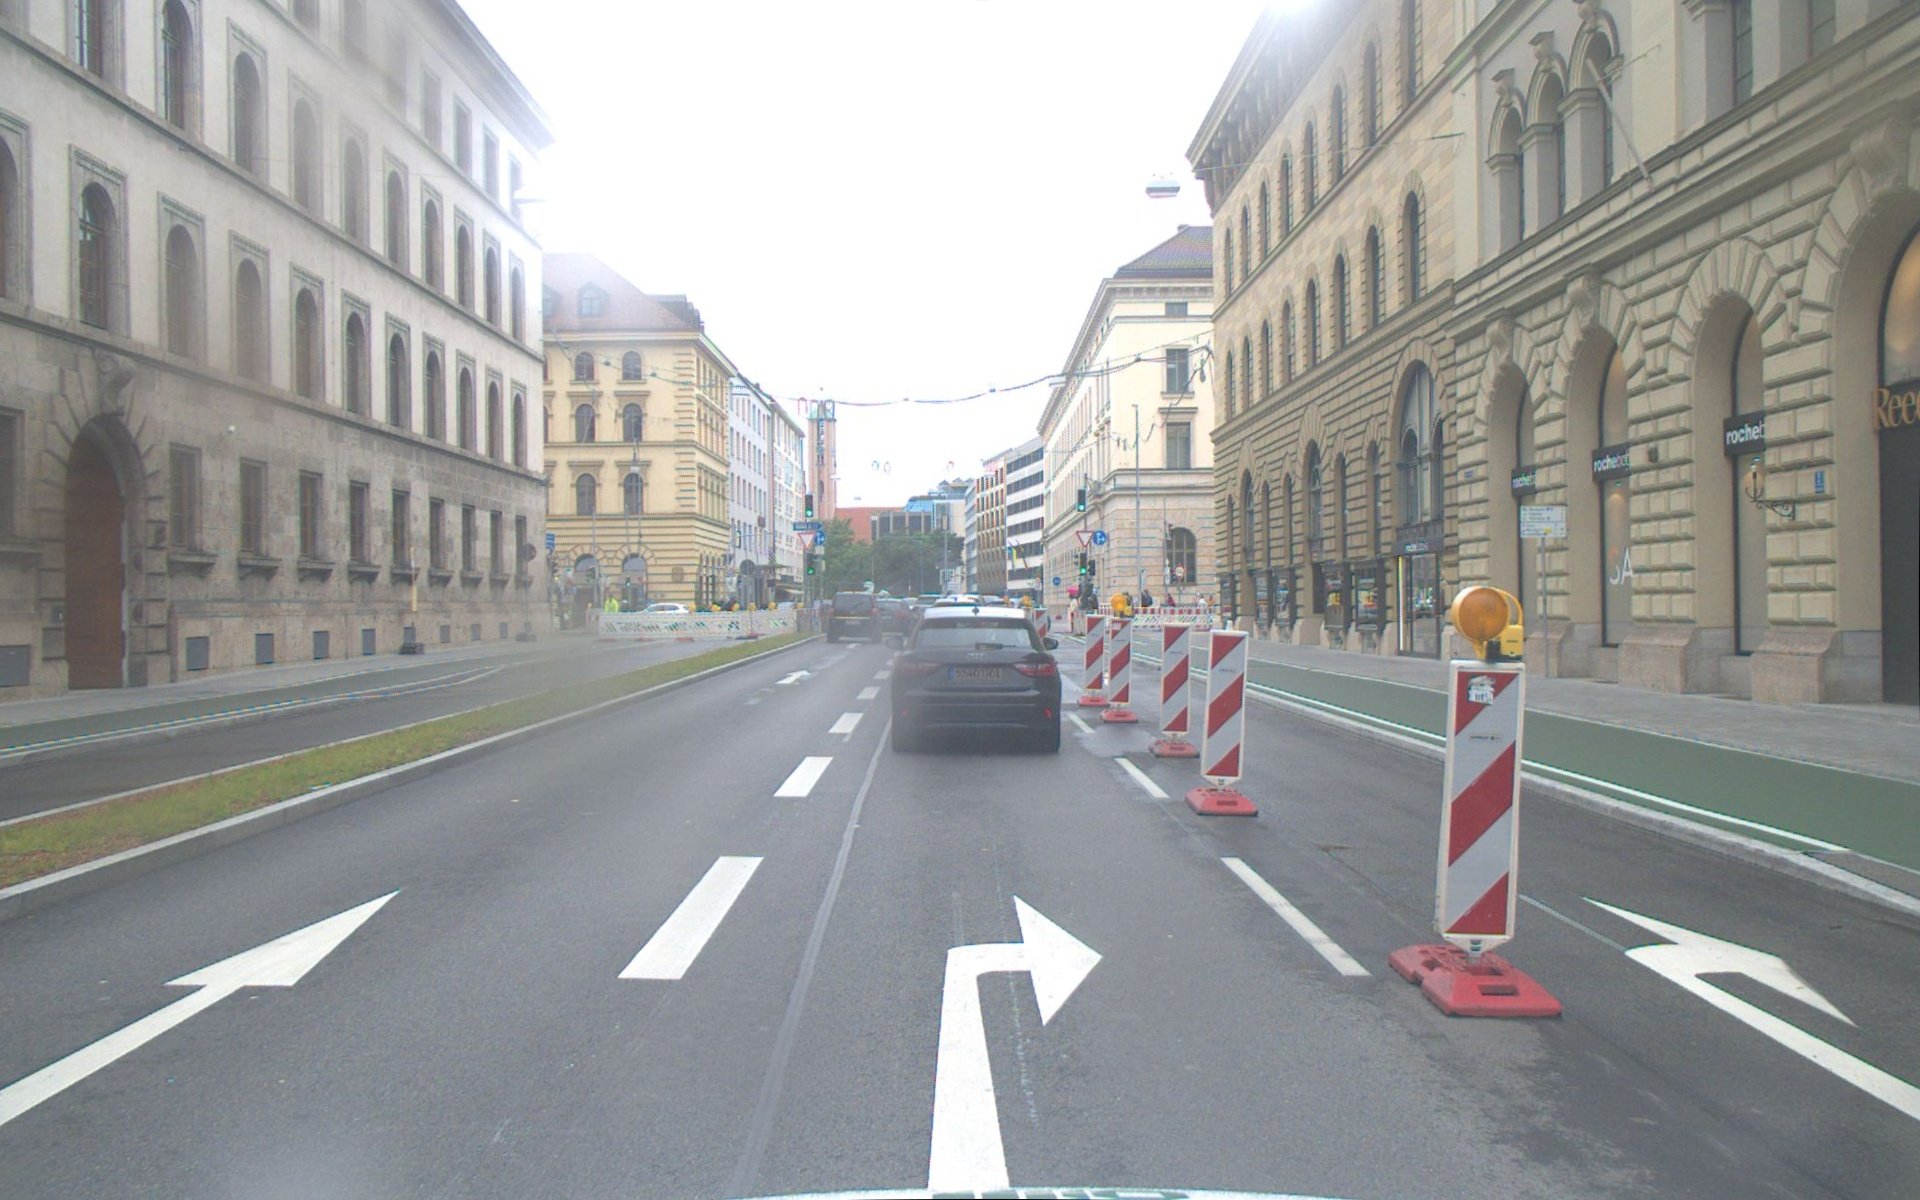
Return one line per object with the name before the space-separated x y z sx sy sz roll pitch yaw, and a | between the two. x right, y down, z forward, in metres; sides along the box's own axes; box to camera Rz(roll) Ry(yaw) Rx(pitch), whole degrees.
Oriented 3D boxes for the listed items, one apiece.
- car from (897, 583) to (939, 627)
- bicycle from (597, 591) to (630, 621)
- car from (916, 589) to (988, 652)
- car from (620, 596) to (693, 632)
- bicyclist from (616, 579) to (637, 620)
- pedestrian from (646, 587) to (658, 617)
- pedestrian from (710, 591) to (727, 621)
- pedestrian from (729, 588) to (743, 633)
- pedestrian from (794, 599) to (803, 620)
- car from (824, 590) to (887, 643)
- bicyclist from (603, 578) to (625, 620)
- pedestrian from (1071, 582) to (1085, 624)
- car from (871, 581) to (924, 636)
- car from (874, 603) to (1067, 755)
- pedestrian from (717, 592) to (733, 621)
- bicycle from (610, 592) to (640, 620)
car | -2.011 0.214 80.439 1.953 2.049 4.000 -1 0 0
bicycle | -14.819 0.236 70.804 0.770 1.264 2.450 0 0 4
car | -0.261 0.521 45.492 1.734 1.645 3.997 0 0 -4
car | -16.512 0.752 89.998 3.685 1.830 1.857 -1 0 -20
bicyclist | -15.171 -0.023 75.190 0.781 1.807 0.689 0 0 3
pedestrian | -18.699 0.121 100.362 0.720 1.803 0.737 0 0 -11
pedestrian | -14.676 0.388 100.598 0.718 1.803 0.761 0 0 20
pedestrian | -9.015 0.414 66.452 0.503 1.773 1.041 0 0 -10
pedestrian | -14.060 0.835 144.232 0.722 1.803 0.736 0 0 -1
car | -3.382 0.510 54.050 1.827 1.629 3.850 -1 0 -1
bicyclist | -14.813 -0.059 70.807 0.781 1.779 0.689 0 0 3
pedestrian | 4.682 0.121 65.584 0.520 1.648 0.674 0 0 2
car | -2.387 0.295 64.212 1.953 2.049 3.999 -1 0 -1
car | 0.082 0.749 17.628 1.825 1.412 3.999 0 0 -1
pedestrian | -14.400 0.403 101.324 0.718 1.803 0.739 0 0 20
bicycle | -15.180 0.271 75.067 0.770 1.264 2.200 0 0 4
